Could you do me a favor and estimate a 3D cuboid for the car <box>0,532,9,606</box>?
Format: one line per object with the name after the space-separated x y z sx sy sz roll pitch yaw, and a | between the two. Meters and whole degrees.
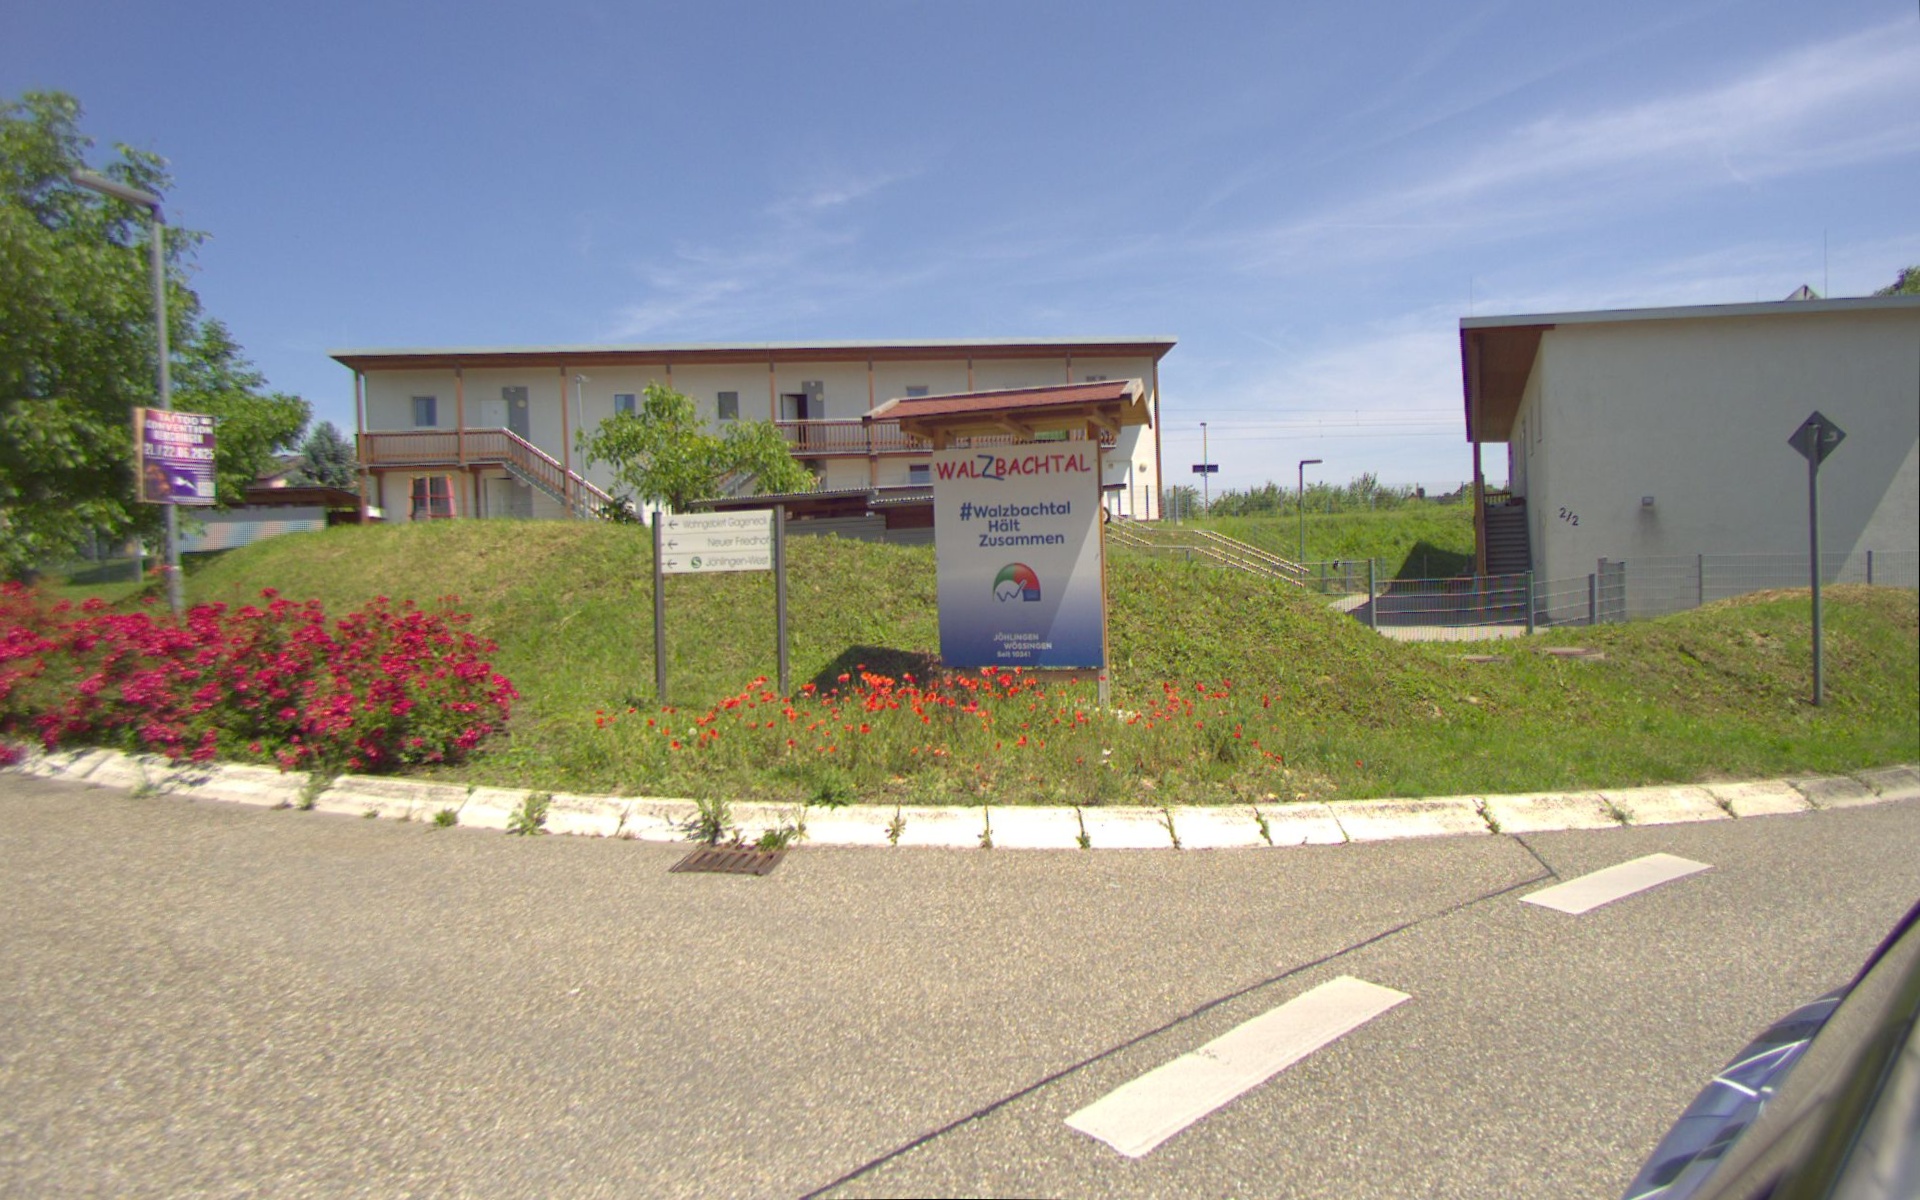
-24.834 -0.673 23.288 1.856 1.773 3.957 0 2 31 | car

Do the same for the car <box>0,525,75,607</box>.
-22.067 -0.713 21.934 1.856 1.773 3.957 0 2 31 | car
